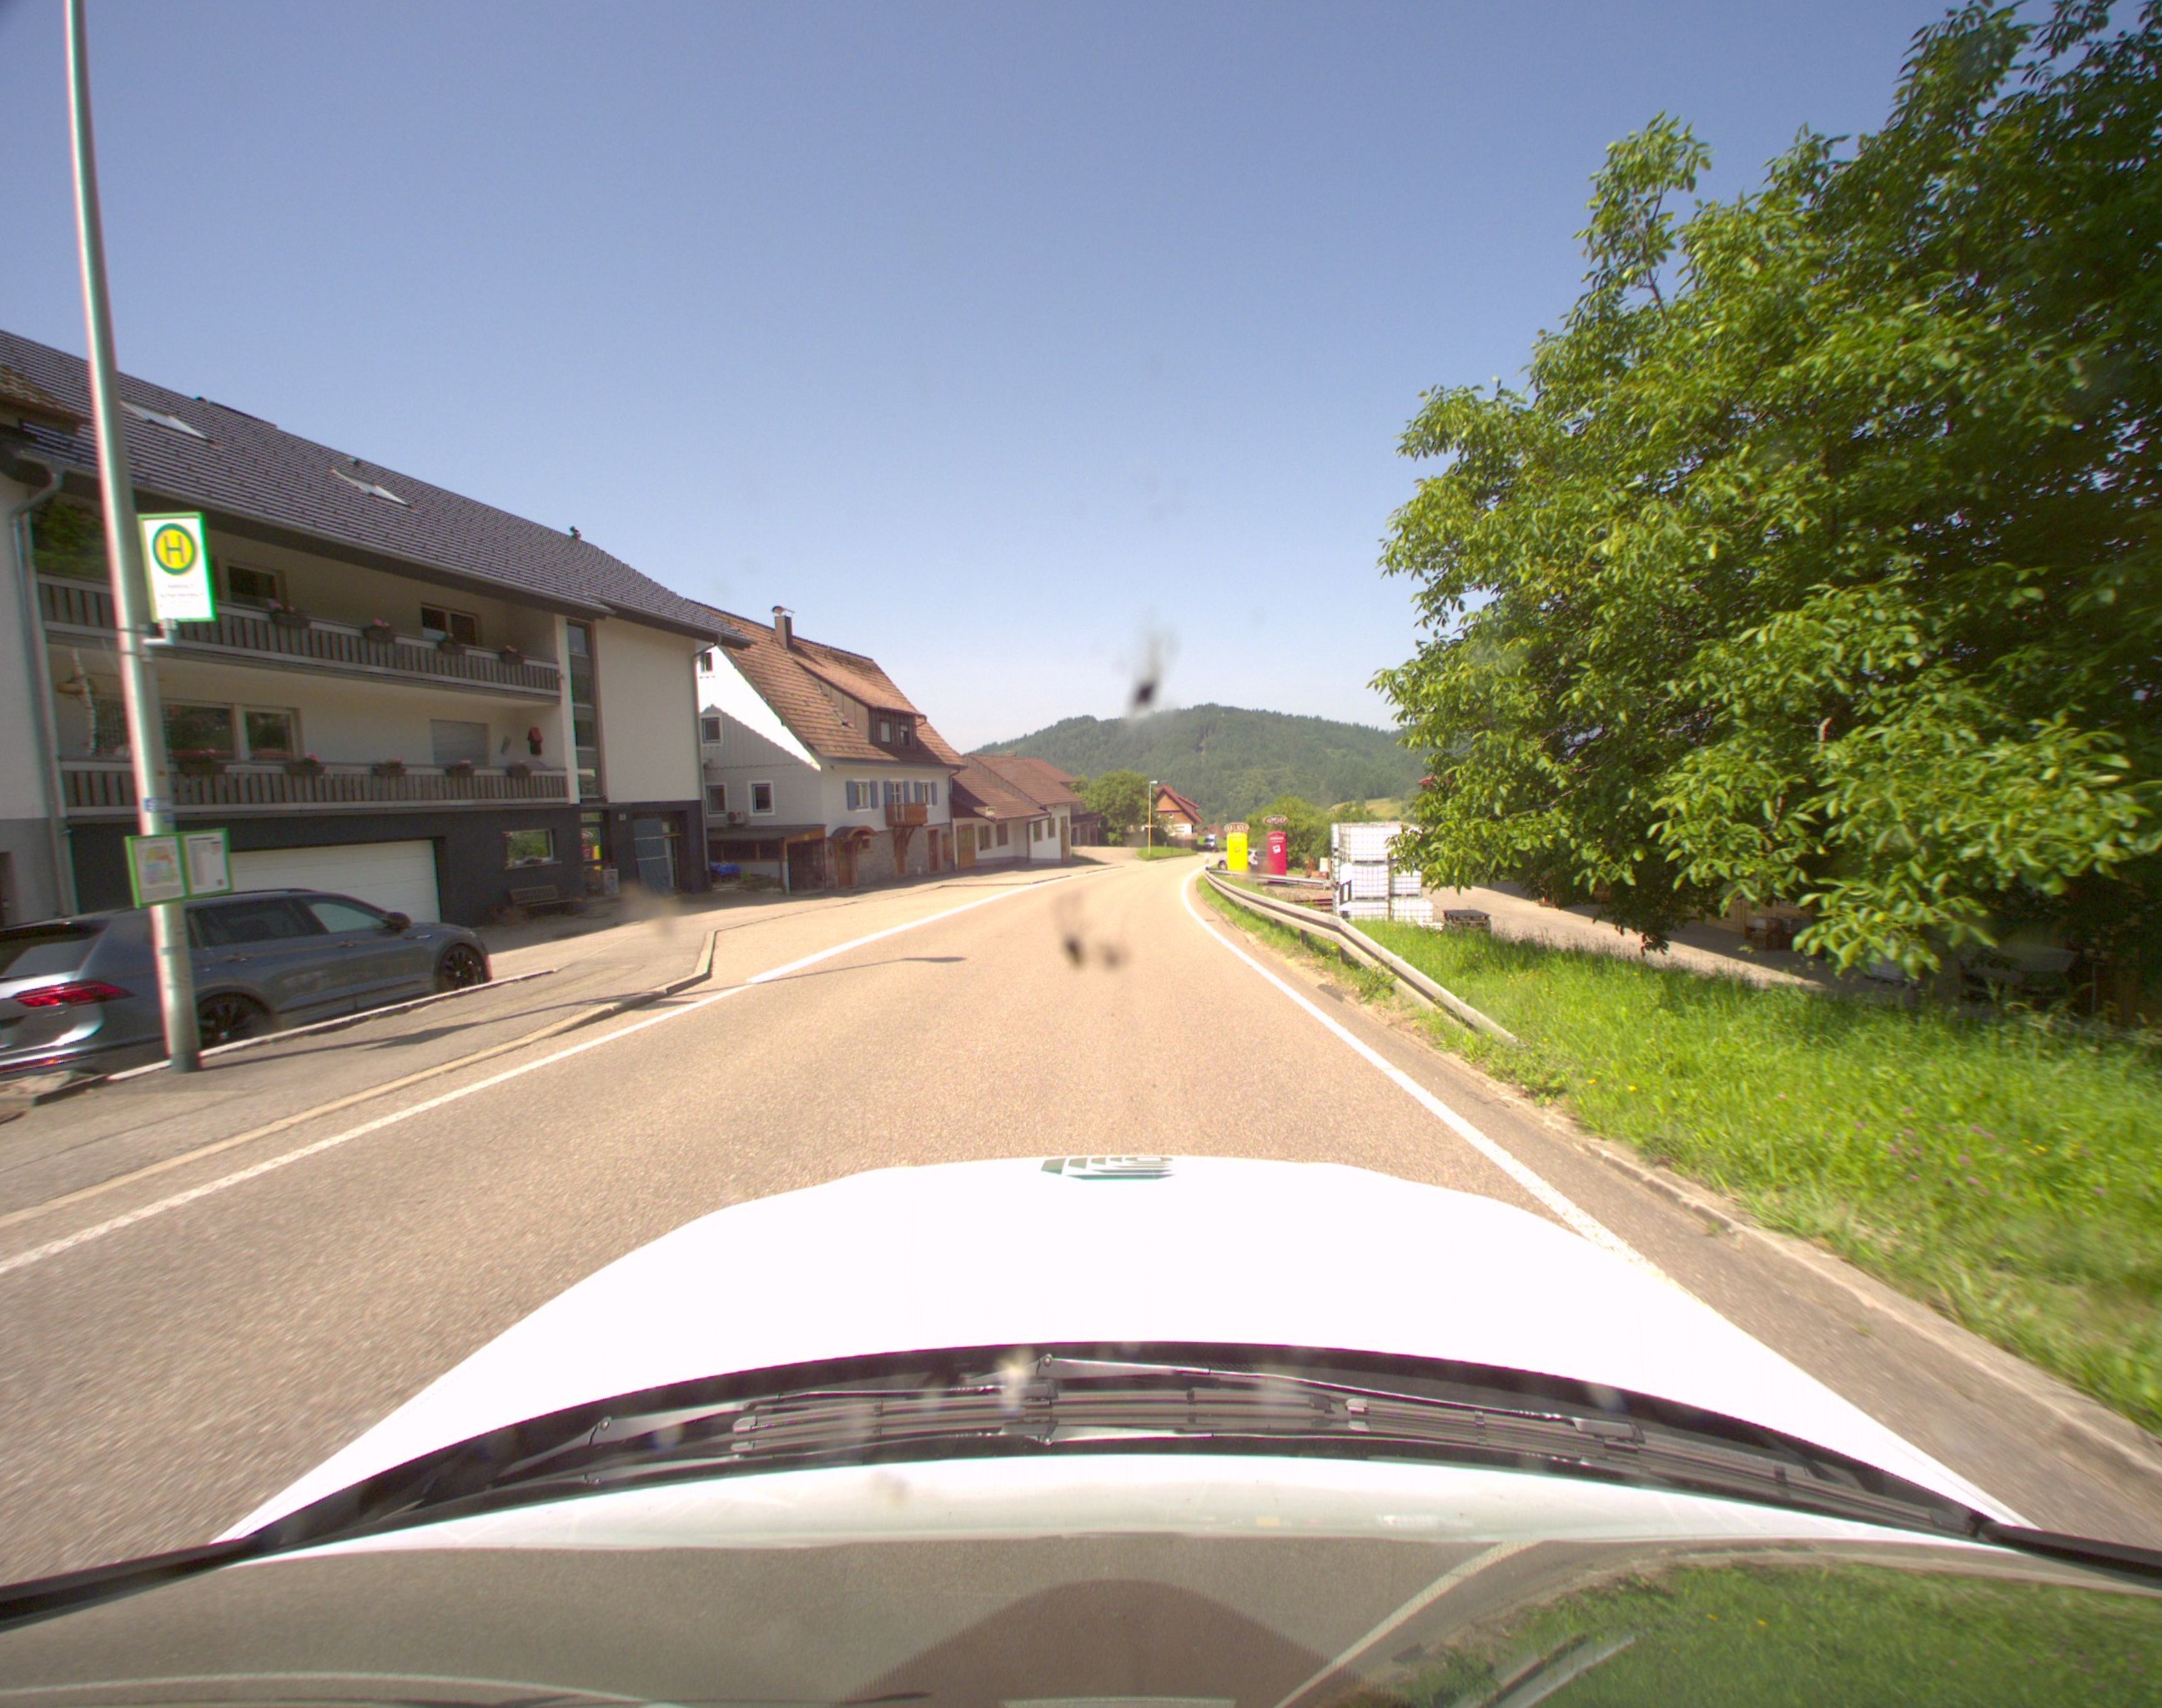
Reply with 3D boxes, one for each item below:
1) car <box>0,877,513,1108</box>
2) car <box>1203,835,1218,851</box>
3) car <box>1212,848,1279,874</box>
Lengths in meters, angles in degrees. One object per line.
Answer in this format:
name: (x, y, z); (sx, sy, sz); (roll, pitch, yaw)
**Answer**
car: (-8.066, 1.049, 8.014); (1.778, 1.338, 4.692); (-1, 2, -3)
car: (24.602, -2.126, 154.806); (2.052, 2.687, 7.205); (-1, 4, 15)
car: (10.866, 0.408, 54.088); (1.911, 1.570, 4.420); (0, 1, -29)
